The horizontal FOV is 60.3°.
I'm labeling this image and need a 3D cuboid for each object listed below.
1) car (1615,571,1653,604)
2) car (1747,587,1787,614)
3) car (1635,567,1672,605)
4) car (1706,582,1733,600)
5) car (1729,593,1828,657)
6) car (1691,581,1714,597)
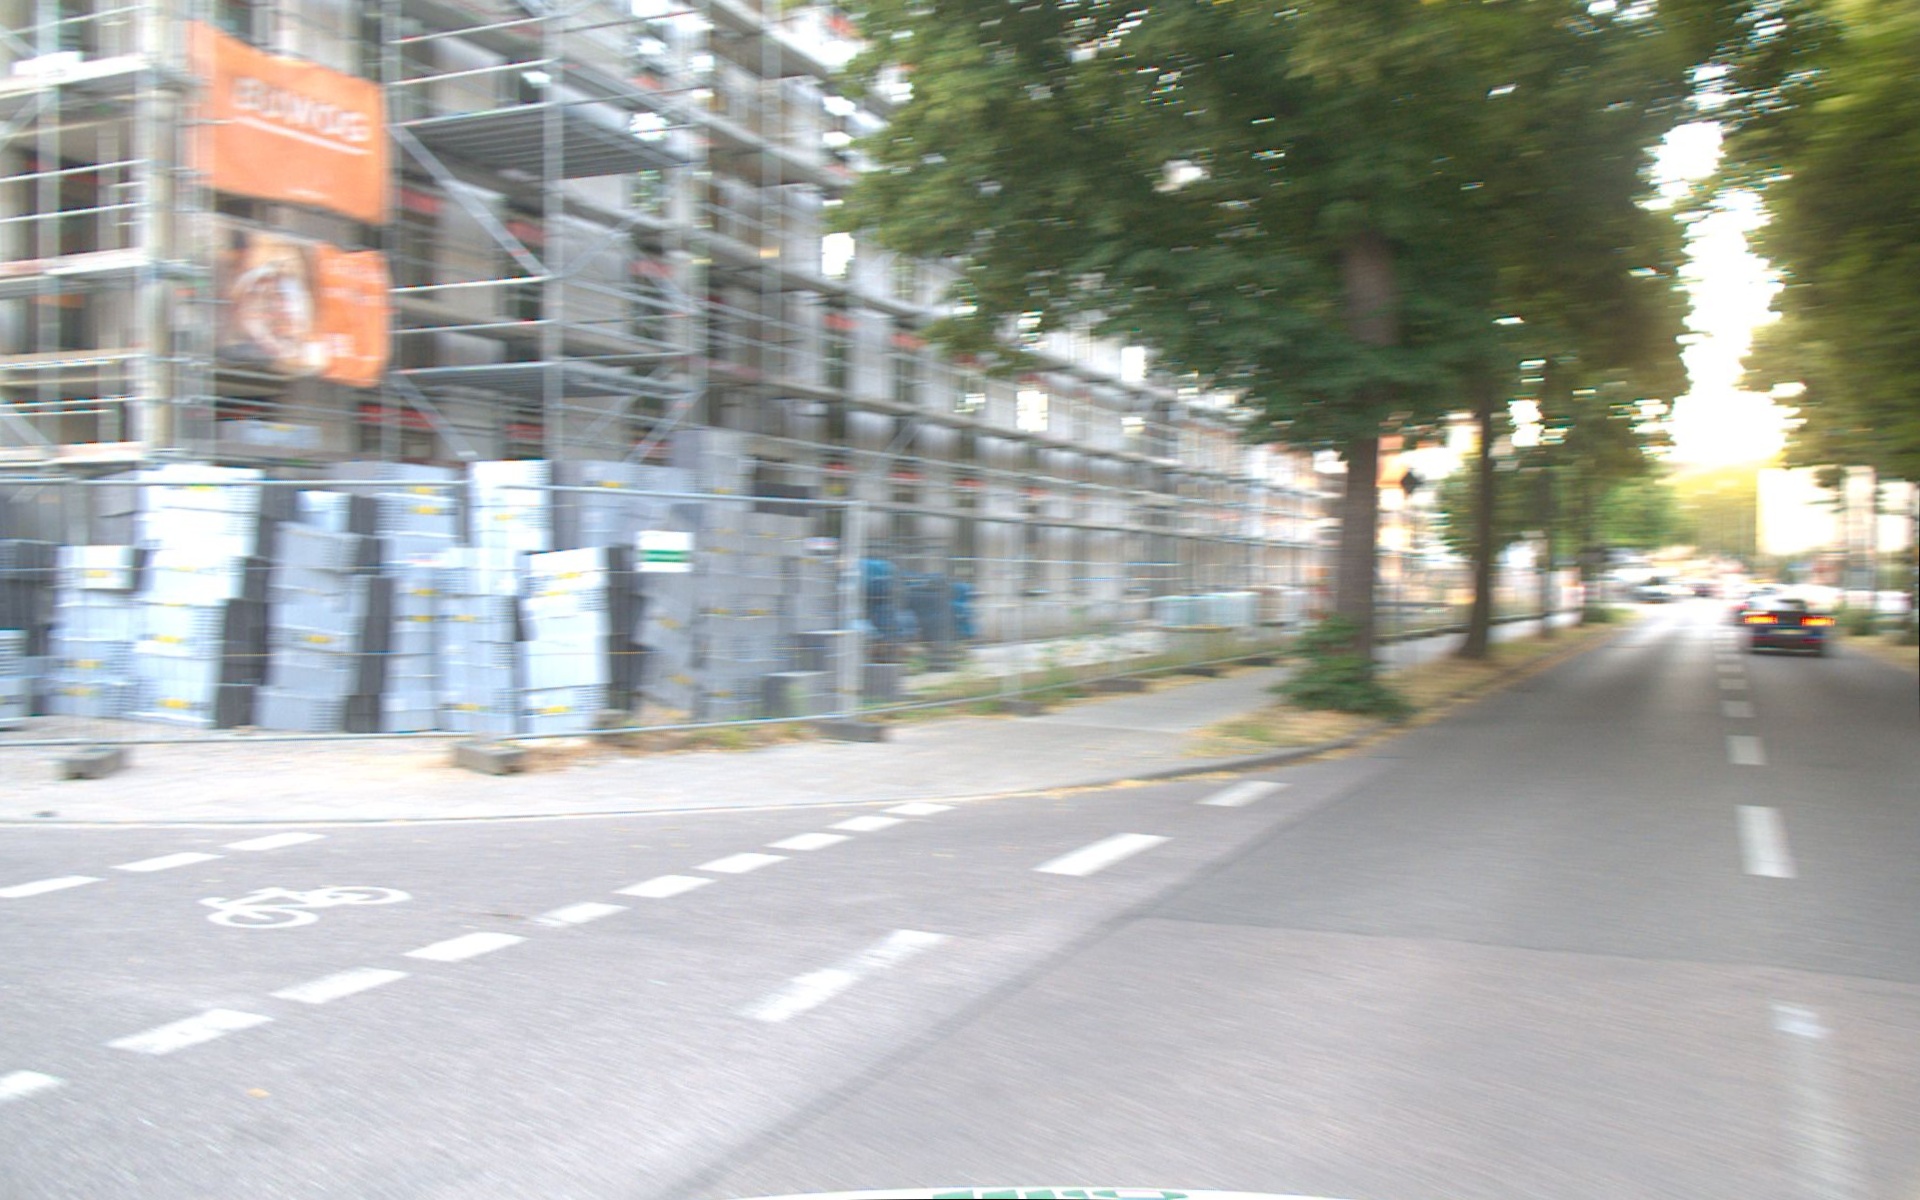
[{"bbox_3d":[45.783,-0.875,112.357,2.288,2.236,5.308,1,1,22],"label":"car"},{"bbox_3d":[44.142,-0.009,90.517,1.909,1.349,3.997,3,2,26],"label":"car"},{"bbox_3d":[51.360,-1.088,122.390,2.442,2.744,5.829,0,1,23],"label":"car"},{"bbox_3d":[62.780,-0.731,136.789,1.908,1.349,3.999,3,2,24],"label":"car"},{"bbox_3d":[19.786,0.565,40.104,1.908,1.349,3.999,3,2,24],"label":"car"},{"bbox_3d":[71.082,-1.070,158.349,1.908,1.349,3.999,3,2,24],"label":"car"}]
